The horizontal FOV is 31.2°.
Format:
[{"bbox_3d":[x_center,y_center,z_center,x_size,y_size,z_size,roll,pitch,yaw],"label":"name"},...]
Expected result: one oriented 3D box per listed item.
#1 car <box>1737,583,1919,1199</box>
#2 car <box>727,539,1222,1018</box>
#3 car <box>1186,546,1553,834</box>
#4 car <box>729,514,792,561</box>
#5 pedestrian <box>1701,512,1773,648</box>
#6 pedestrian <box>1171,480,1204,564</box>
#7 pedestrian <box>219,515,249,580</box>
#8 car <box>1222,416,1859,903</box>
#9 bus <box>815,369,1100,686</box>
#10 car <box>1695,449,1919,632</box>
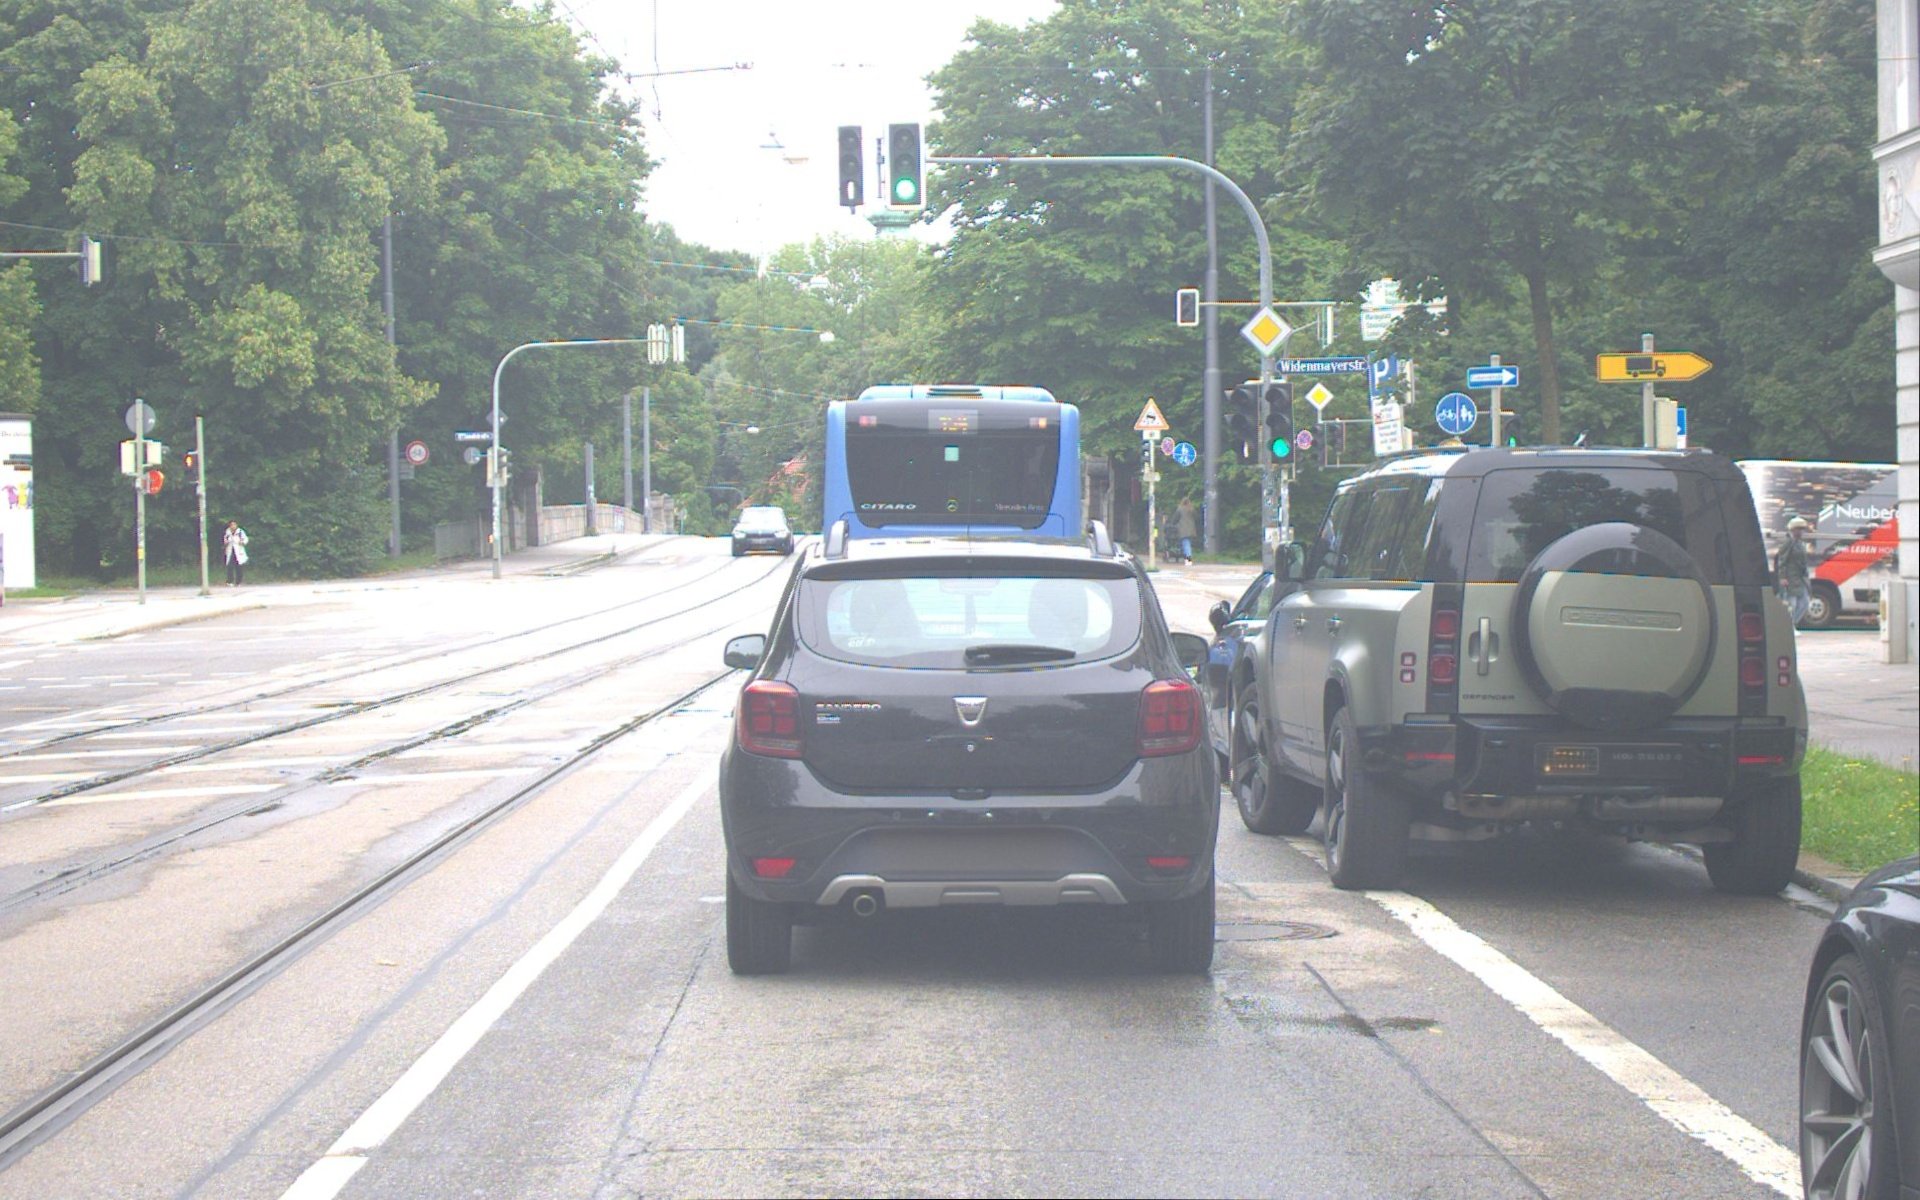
[{"bbox_3d":[2.653,0.719,5.395,1.716,1.421,4.602,1,1,-1],"label":"car"},{"bbox_3d":[0.013,0.567,13.094,1.600,1.551,3.525,1,1,-1],"label":"car"},{"bbox_3d":[2.447,0.480,21.527,1.714,1.586,4.327,1,1,-1],"label":"car"},{"bbox_3d":[-5.988,-1.884,103.632,1.787,1.365,3.400,1,1,-2],"label":"car"},{"bbox_3d":[10.051,-0.262,44.485,0.705,1.726,0.843,1,1,-1],"label":"pedestrian"},{"bbox_3d":[5.772,-1.987,87.351,0.762,2.109,0.853,-1,1,0],"label":"pedestrian"},{"bbox_3d":[-16.776,-1.217,79.444,0.532,1.496,0.588,1,1,4],"label":"pedestrian"},{"bbox_3d":[2.495,0.209,16.074,1.914,1.899,4.808,1,1,-3],"label":"car"},{"bbox_3d":[-0.167,-0.740,36.477,2.678,2.987,6.962,1,1,-2],"label":"bus"},{"bbox_3d":[13.837,-0.850,50.939,5.295,2.603,2.231,1,1,-3],"label":"car"}]
